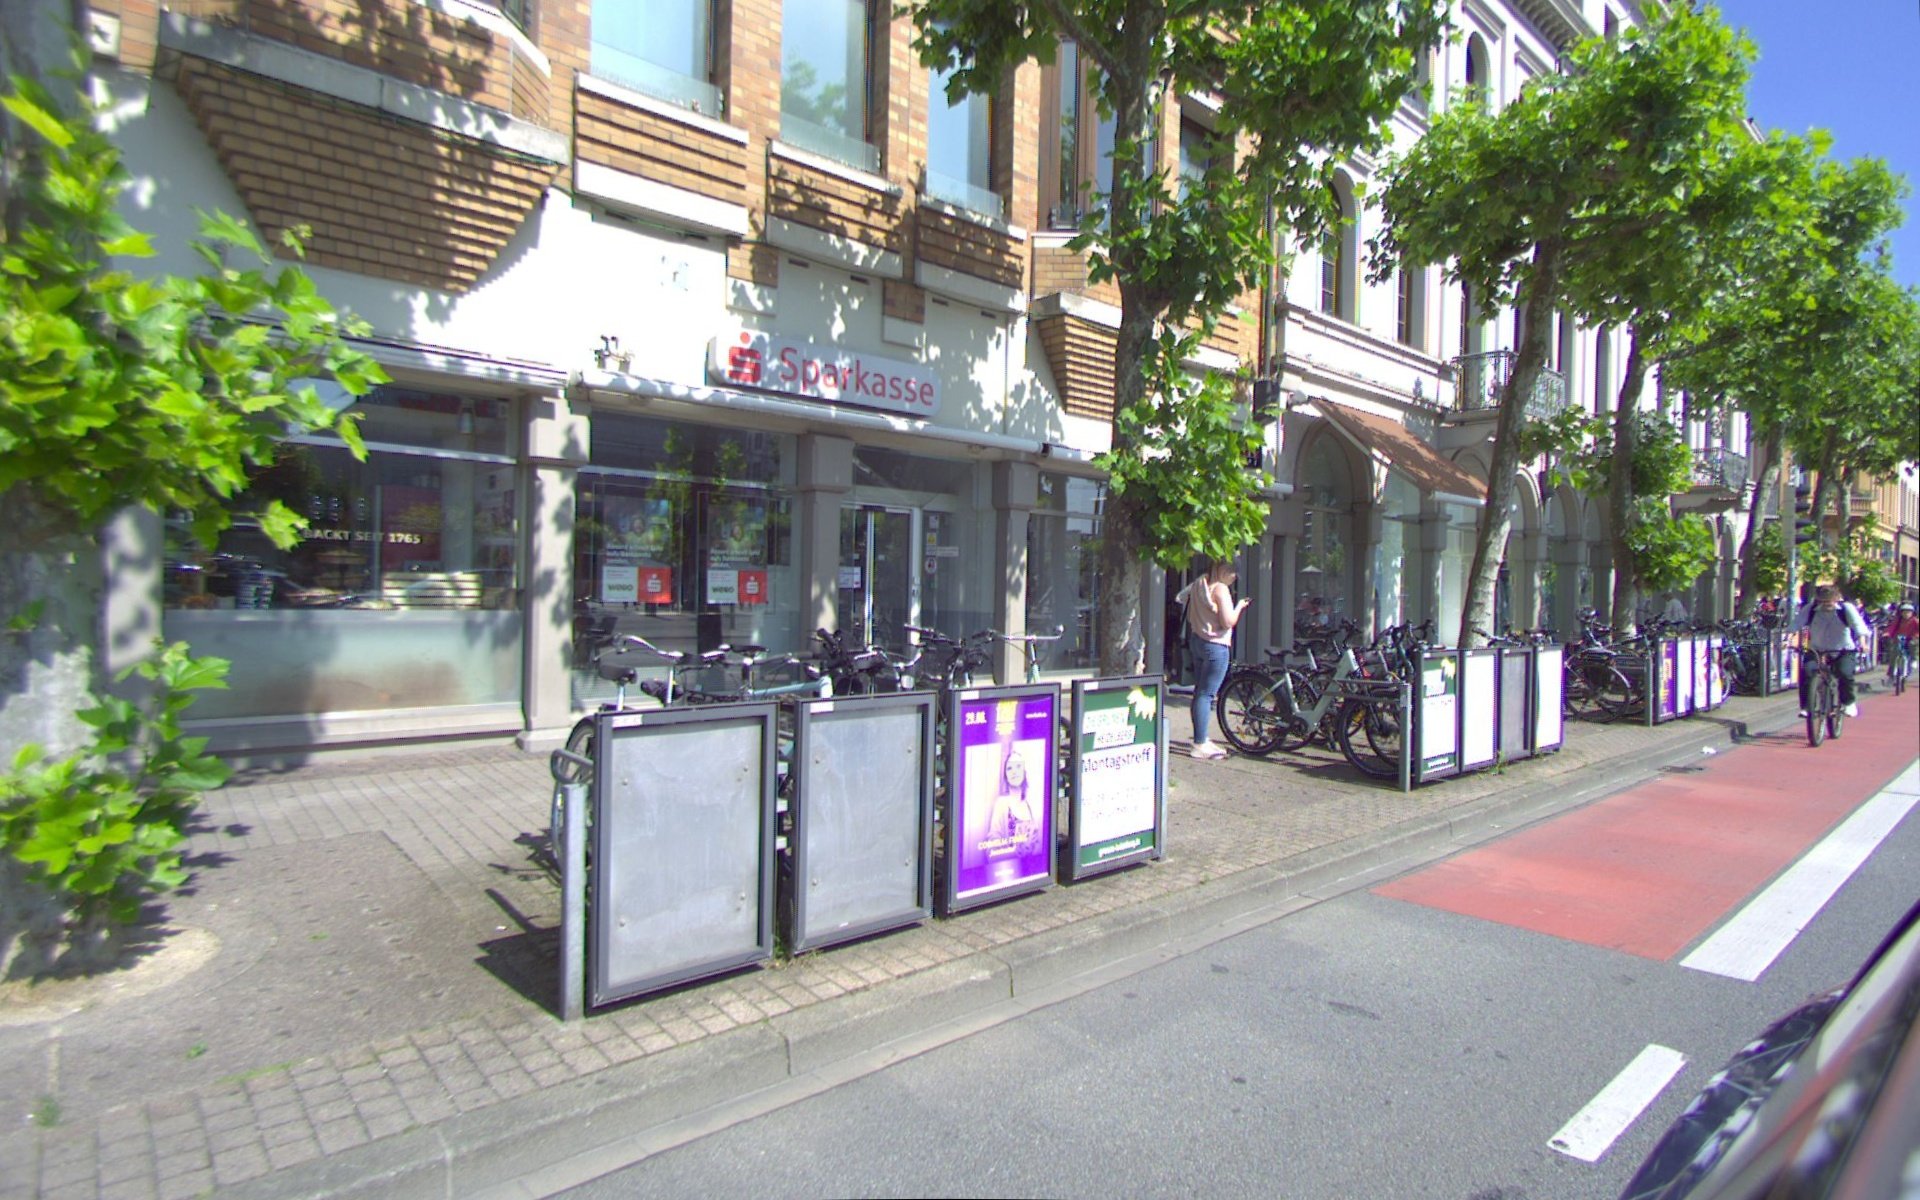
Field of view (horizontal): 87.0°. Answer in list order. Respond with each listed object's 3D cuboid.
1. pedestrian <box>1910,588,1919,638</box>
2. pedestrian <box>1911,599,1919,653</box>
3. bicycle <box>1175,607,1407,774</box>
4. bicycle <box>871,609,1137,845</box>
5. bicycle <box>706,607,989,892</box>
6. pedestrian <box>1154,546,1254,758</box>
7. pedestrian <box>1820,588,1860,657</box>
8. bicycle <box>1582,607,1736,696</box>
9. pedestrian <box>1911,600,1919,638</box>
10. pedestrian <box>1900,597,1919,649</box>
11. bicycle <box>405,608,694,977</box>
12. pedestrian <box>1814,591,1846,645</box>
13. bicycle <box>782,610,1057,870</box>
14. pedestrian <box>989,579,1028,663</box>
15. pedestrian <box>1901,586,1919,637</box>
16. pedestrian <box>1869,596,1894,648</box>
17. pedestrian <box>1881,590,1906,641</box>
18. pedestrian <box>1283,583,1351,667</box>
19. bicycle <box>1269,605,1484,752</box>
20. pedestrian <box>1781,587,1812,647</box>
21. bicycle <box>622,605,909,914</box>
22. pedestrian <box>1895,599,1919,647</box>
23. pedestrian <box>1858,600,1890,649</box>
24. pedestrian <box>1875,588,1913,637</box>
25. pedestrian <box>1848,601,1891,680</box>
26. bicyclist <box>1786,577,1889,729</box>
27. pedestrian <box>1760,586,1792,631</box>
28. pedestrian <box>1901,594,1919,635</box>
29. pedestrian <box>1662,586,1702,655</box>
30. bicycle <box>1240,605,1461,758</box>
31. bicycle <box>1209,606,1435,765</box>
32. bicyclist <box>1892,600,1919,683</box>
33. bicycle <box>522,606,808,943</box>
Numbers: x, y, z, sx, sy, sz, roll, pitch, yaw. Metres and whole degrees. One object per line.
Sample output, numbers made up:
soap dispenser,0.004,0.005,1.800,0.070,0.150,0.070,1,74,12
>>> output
pedestrian,35.862,0.484,37.680,0.612,1.882,0.685,1,-1,-44
pedestrian,30.541,0.814,32.052,0.612,1.706,0.577,1,-1,-44
bicycle,2.597,0.656,8.112,0.474,1.161,1.755,1,0,-42
bicycle,0.197,0.661,6.007,0.474,1.161,1.755,1,0,-42
bicycle,-0.636,0.640,5.108,0.474,1.161,1.755,1,0,-42
pedestrian,2.022,0.408,8.356,0.648,1.654,0.723,-1,-1,27
pedestrian,20.099,0.506,23.123,0.655,1.558,0.605,1,-1,-42
bicycle,10.008,0.708,14.552,0.474,1.161,1.755,1,0,-42
pedestrian,42.304,0.842,44.531,0.575,1.680,0.613,2,0,38
pedestrian,31.277,0.751,33.187,0.762,1.706,0.577,1,-1,-44
bicycle,-1.738,0.637,4.117,0.475,1.161,1.754,1,0,-43
pedestrian,29.111,0.600,33.873,0.763,1.805,0.720,1,-1,-43
bicycle,-0.287,0.660,5.522,0.474,1.161,1.755,1,0,-42
pedestrian,0.823,0.355,17.172,0.413,1.405,0.517,-1,-1,44
pedestrian,34.872,0.426,37.048,0.685,1.825,0.577,1,-1,-44
pedestrian,31.152,0.735,34.206,0.612,1.706,0.577,1,-1,-44
pedestrian,32.278,0.543,35.005,0.612,1.746,0.577,1,-1,-44
pedestrian,5.694,0.397,16.175,0.850,1.323,0.654,0,-1,1
bicycle,3.713,0.650,9.146,0.474,1.161,1.755,1,0,-42
pedestrian,25.860,0.515,31.292,0.763,1.816,0.634,1,-1,-43
bicycle,-0.983,0.625,4.755,0.474,1.161,1.755,1,0,-42
pedestrian,31.665,0.762,33.813,0.612,1.604,0.577,1,-1,-44
pedestrian,30.163,0.810,33.398,0.571,1.604,0.518,0,-1,-1
pedestrian,35.835,0.468,38.828,0.838,1.869,0.623,0,-1,-2
pedestrian,22.553,0.982,25.099,0.763,1.927,0.701,1,-1,-43
bicyclist,9.687,0.564,11.172,0.765,1.597,0.749,1,-1,-42
pedestrian,30.850,0.308,38.263,0.611,1.668,0.797,1,-1,-40
pedestrian,43.264,0.639,45.786,0.732,1.828,0.736,1,0,-21
pedestrian,18.375,0.524,25.754,0.664,1.718,0.658,1,-1,-39
bicycle,3.342,0.648,8.796,0.474,1.161,1.755,1,0,-42
bicycle,2.971,0.649,8.464,0.474,1.161,1.755,1,0,-42
bicyclist,16.588,0.700,17.446,0.765,1.414,0.689,1,-1,-42
bicycle,-1.360,0.630,4.435,0.474,1.161,1.755,1,0,-42
